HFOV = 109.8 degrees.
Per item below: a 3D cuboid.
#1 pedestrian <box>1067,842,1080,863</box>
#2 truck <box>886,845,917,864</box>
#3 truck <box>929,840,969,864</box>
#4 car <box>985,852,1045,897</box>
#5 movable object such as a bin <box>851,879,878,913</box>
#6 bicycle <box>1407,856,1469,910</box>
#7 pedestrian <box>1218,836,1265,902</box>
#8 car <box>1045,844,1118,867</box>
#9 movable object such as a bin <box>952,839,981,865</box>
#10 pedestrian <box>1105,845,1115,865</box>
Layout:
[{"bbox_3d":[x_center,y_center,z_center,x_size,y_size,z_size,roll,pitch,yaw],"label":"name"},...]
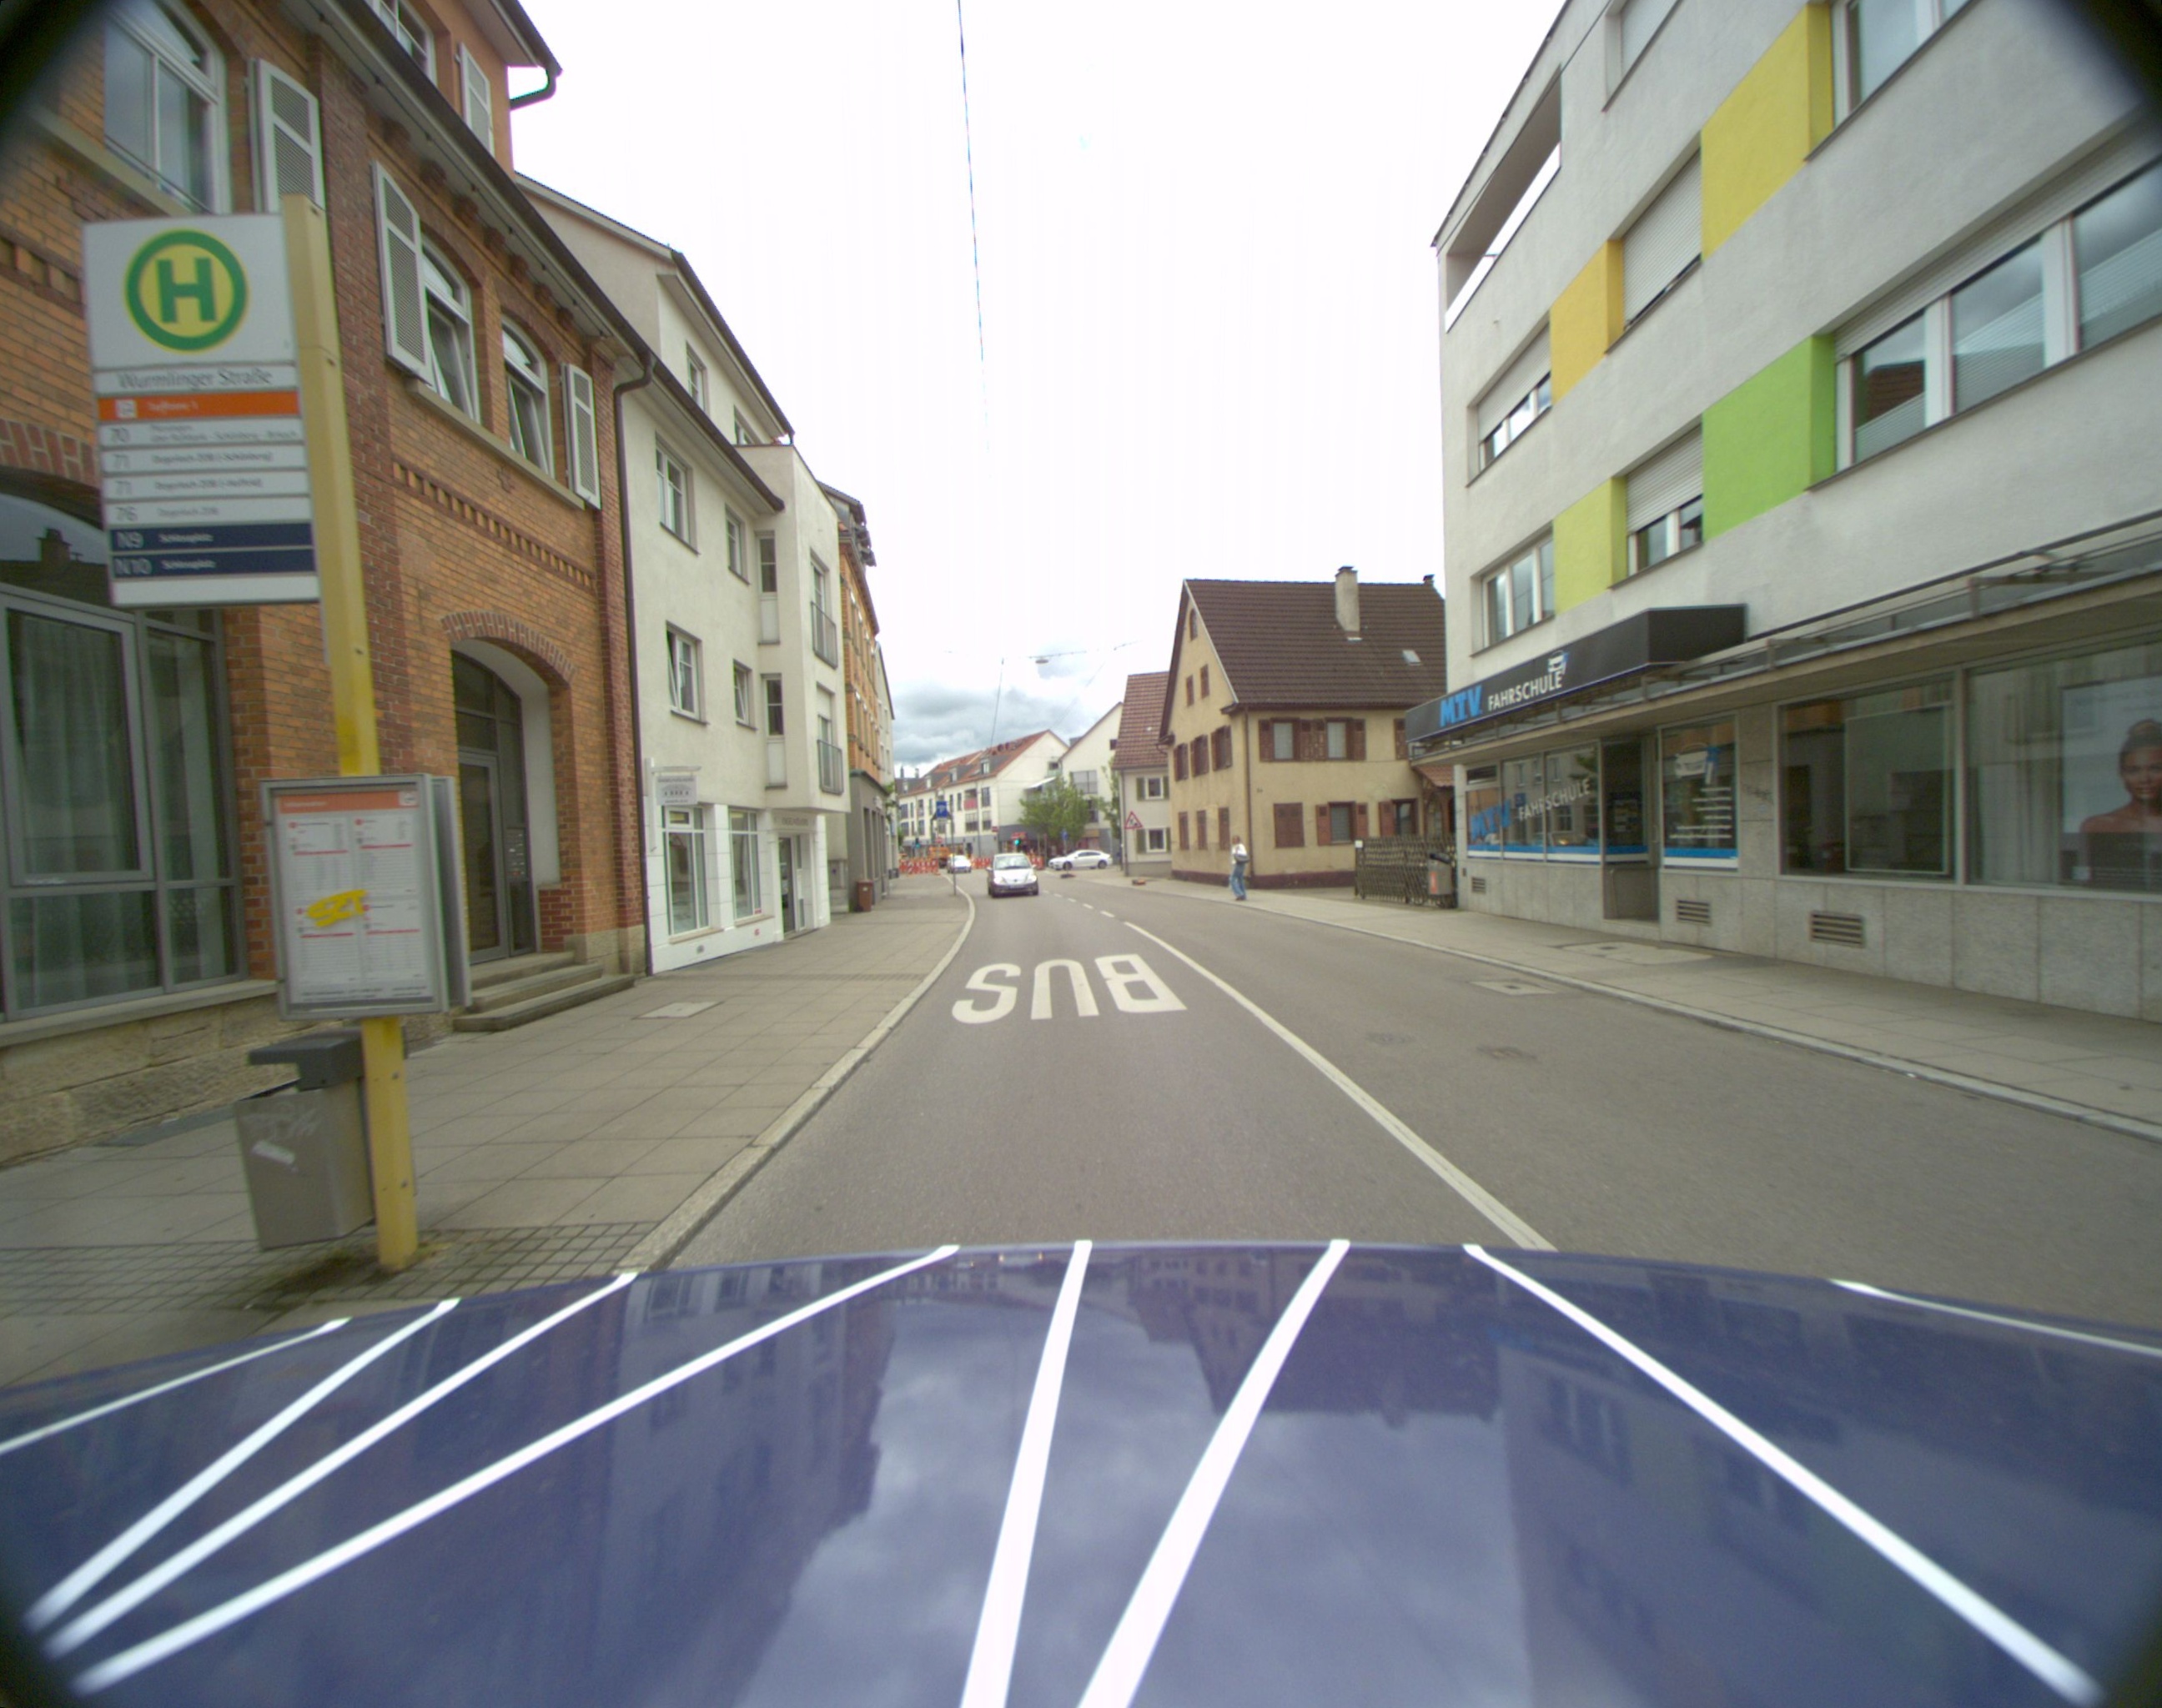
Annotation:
[{"bbox_3d":[-0.700,-0.177,70.622,0.782,1.914,0.818,-1,1,41],"label":"pedestrian"},{"bbox_3d":[-25.750,0.121,108.640,2.425,2.451,6.293,-2,0,-31],"label":"truck"},{"bbox_3d":[-15.917,-0.220,91.439,2.744,2.709,6.833,-2,0,-27],"label":"truck"},{"bbox_3d":[-2.619,0.748,29.267,1.859,1.547,4.348,-2,0,-10],"label":"car"},{"bbox_3d":[-6.341,1.224,22.282,0.621,0.916,0.581,-2,1,-6],"label":"movable object such as a bin"},{"bbox_3d":[7.518,0.589,16.071,0.324,1.047,1.747,-2,1,-5],"label":"bicycle"},{"bbox_3d":[4.182,0.386,19.857,0.896,1.656,0.860,-2,1,-13],"label":"pedestrian"},{"bbox_3d":[0.036,0.087,57.306,4.924,1.468,2.245,-3,1,-25],"label":"car"},{"bbox_3d":[-12.727,-0.229,84.380,1.847,2.748,4.495,-2,2,-26],"label":"movable object such as a bin"},{"bbox_3d":[2.357,0.097,61.683,0.683,1.583,0.879,-2,1,-2],"label":"pedestrian"}]
